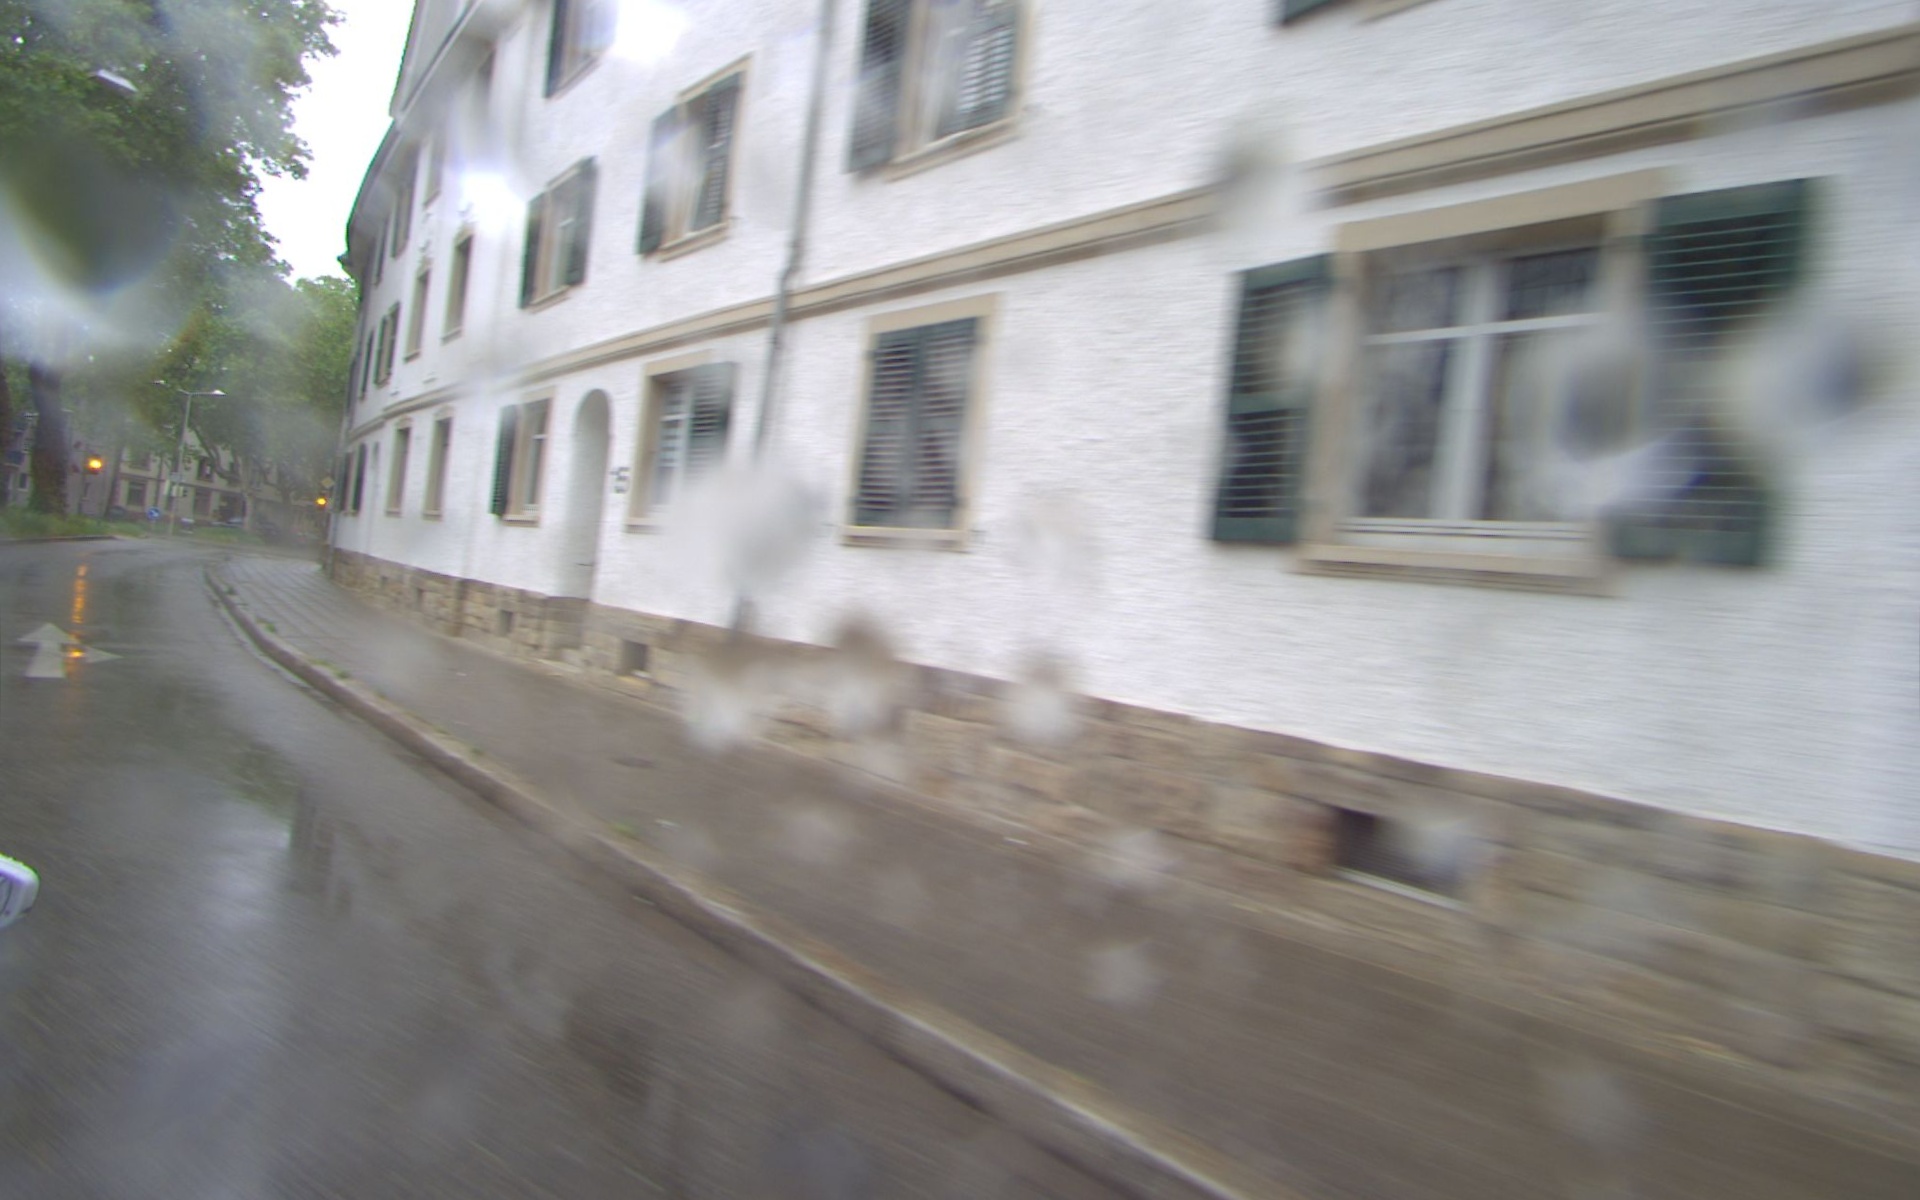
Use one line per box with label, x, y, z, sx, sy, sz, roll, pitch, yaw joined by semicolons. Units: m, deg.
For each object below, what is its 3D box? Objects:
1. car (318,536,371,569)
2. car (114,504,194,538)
car;-42.681;-3.275;69.854;1.969;2.039;3.985;6;0;-17
car;-49.017;-4.792;61.246;3.445;1.542;1.511;6;1;-25
